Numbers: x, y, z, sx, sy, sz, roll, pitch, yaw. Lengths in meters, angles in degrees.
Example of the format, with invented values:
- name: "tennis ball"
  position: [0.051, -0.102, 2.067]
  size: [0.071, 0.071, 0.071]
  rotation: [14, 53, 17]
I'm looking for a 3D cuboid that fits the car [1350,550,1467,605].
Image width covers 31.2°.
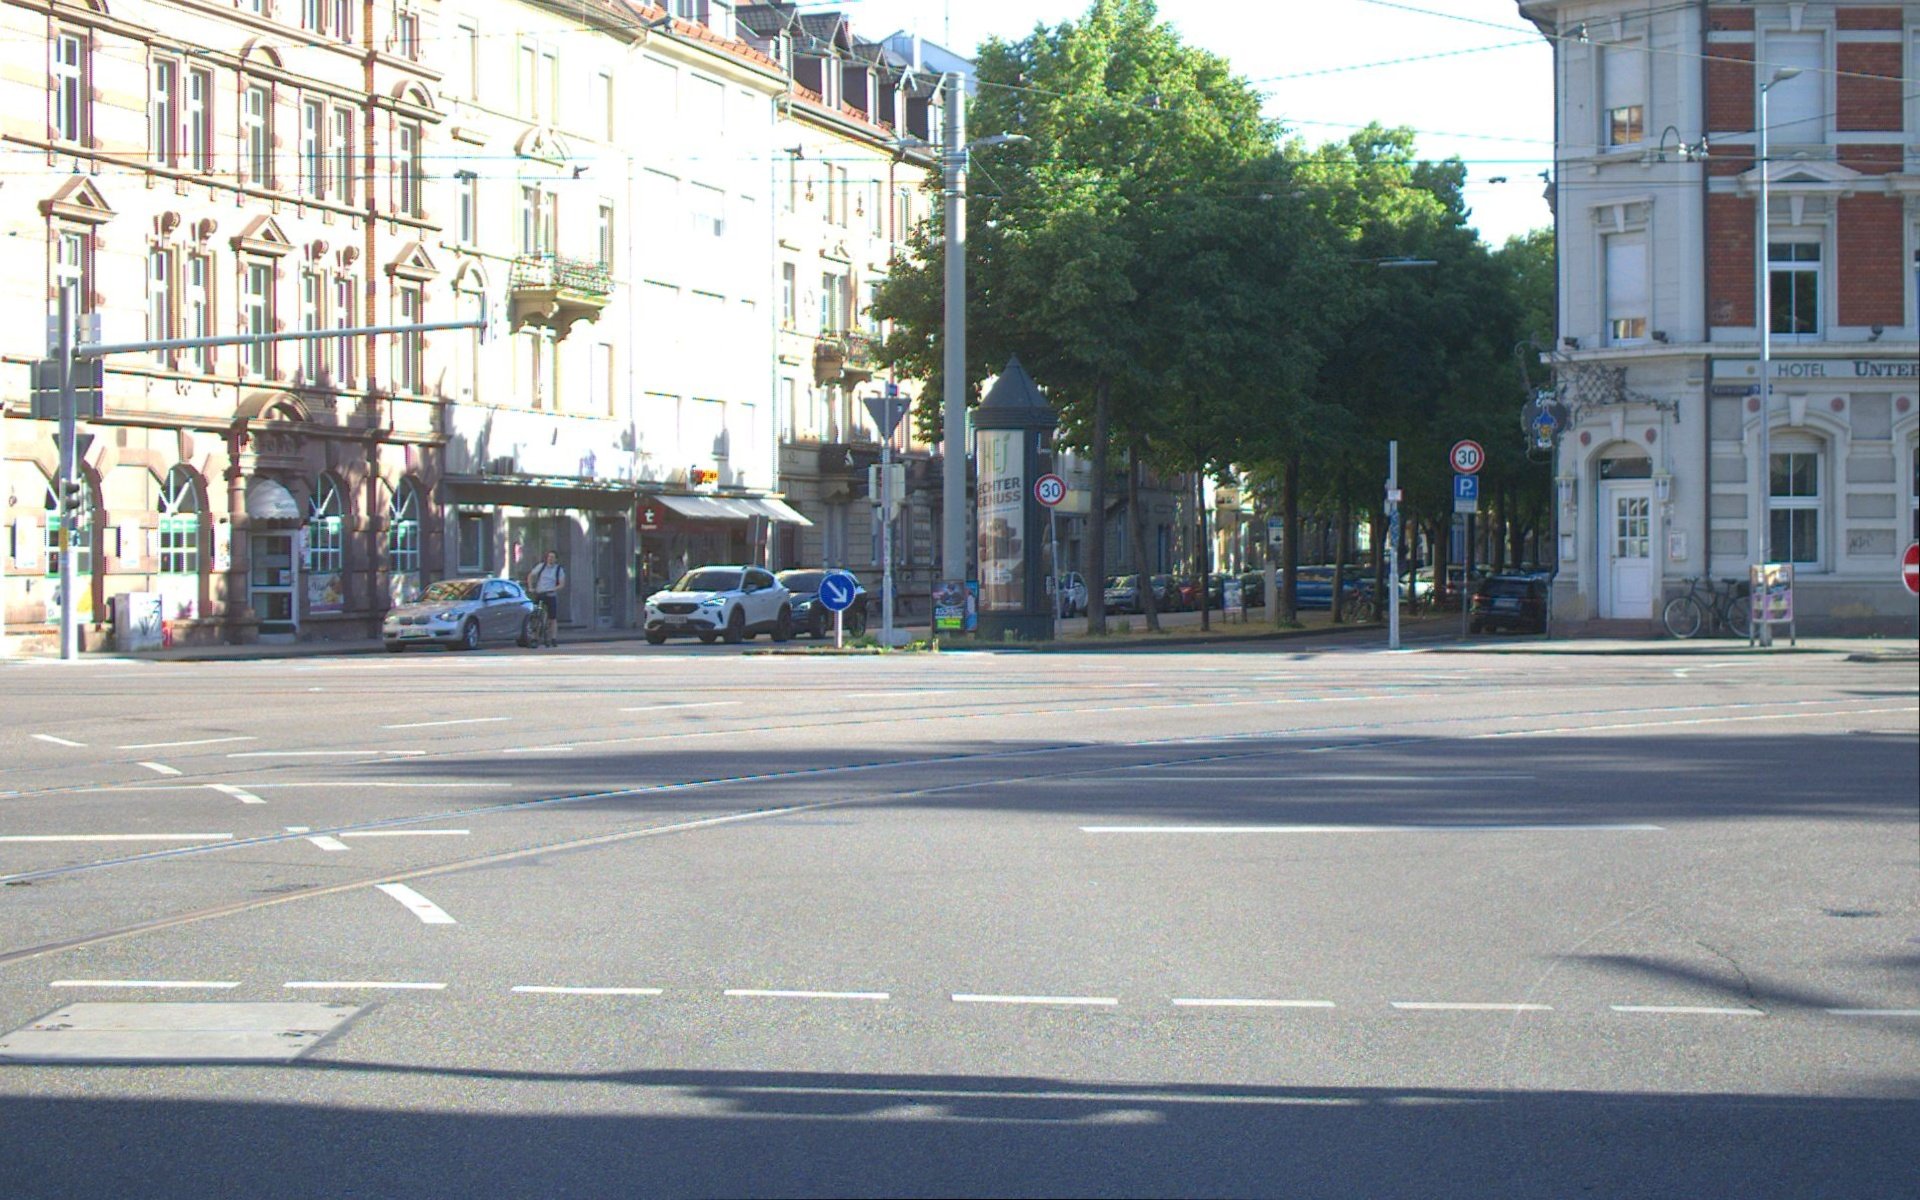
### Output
- name: "car"
  position: [17.412, -0.877, 133.426]
  size: [4.115, 1.912, 1.744]
  rotation: [3, 1, 21]

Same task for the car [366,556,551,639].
- name: "car"
  position: [-9.775, -0.070, 67.382]
  size: [2.098, 1.540, 4.361]
  rotation: [0, 1, 14]

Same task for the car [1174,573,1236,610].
- name: "car"
  position: [9.730, -0.349, 136.388]
  size: [1.742, 1.393, 4.121]
  rotation: [3, 1, 13]

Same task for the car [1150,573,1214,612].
- name: "car"
  position: [8.511, -0.314, 131.609]
  size: [1.742, 1.393, 4.121]
  rotation: [3, 1, 13]

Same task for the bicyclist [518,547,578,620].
- name: "bicyclist"
  position: [-7.851, -0.313, 65.593]
  size: [0.794, 1.370, 1.107]
  rotation: [0, 1, 14]

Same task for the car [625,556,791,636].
- name: "car"
  position: [-4.877, -0.102, 67.168]
  size: [2.098, 1.494, 3.998]
  rotation: [0, 1, 14]

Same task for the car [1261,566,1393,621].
- name: "car"
  position: [12.294, -0.226, 115.227]
  size: [4.113, 1.640, 1.745]
  rotation: [3, 1, 15]

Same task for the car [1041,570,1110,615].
- name: "car"
  position: [3.924, -0.256, 115.808]
  size: [1.741, 1.393, 4.122]
  rotation: [3, 1, 9]

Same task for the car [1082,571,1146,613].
- name: "car"
  position: [5.510, -0.303, 122.785]
  size: [1.741, 1.393, 4.122]
  rotation: [3, 1, 9]

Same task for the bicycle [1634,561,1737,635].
- name: "bicycle"
  position: [12.063, -0.033, 57.136]
  size: [1.639, 1.218, 0.606]
  rotation: [0, 1, 16]

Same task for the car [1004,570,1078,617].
- name: "car"
  position: [2.599, -0.216, 110.003]
  size: [1.741, 1.393, 4.122]
  rotation: [3, 1, 9]

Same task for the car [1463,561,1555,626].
- name: "car"
  position: [13.170, -0.156, 82.288]
  size: [1.652, 1.519, 3.750]
  rotation: [0, 0, 17]

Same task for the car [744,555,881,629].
- name: "car"
  position: [-3.127, -0.190, 73.535]
  size: [1.994, 1.508, 3.998]
  rotation: [0, 1, 12]

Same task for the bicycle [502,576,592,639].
- name: "bicycle"
  position: [-7.865, 0.128, 65.631]
  size: [0.751, 1.131, 2.808]
  rotation: [0, 1, 14]
